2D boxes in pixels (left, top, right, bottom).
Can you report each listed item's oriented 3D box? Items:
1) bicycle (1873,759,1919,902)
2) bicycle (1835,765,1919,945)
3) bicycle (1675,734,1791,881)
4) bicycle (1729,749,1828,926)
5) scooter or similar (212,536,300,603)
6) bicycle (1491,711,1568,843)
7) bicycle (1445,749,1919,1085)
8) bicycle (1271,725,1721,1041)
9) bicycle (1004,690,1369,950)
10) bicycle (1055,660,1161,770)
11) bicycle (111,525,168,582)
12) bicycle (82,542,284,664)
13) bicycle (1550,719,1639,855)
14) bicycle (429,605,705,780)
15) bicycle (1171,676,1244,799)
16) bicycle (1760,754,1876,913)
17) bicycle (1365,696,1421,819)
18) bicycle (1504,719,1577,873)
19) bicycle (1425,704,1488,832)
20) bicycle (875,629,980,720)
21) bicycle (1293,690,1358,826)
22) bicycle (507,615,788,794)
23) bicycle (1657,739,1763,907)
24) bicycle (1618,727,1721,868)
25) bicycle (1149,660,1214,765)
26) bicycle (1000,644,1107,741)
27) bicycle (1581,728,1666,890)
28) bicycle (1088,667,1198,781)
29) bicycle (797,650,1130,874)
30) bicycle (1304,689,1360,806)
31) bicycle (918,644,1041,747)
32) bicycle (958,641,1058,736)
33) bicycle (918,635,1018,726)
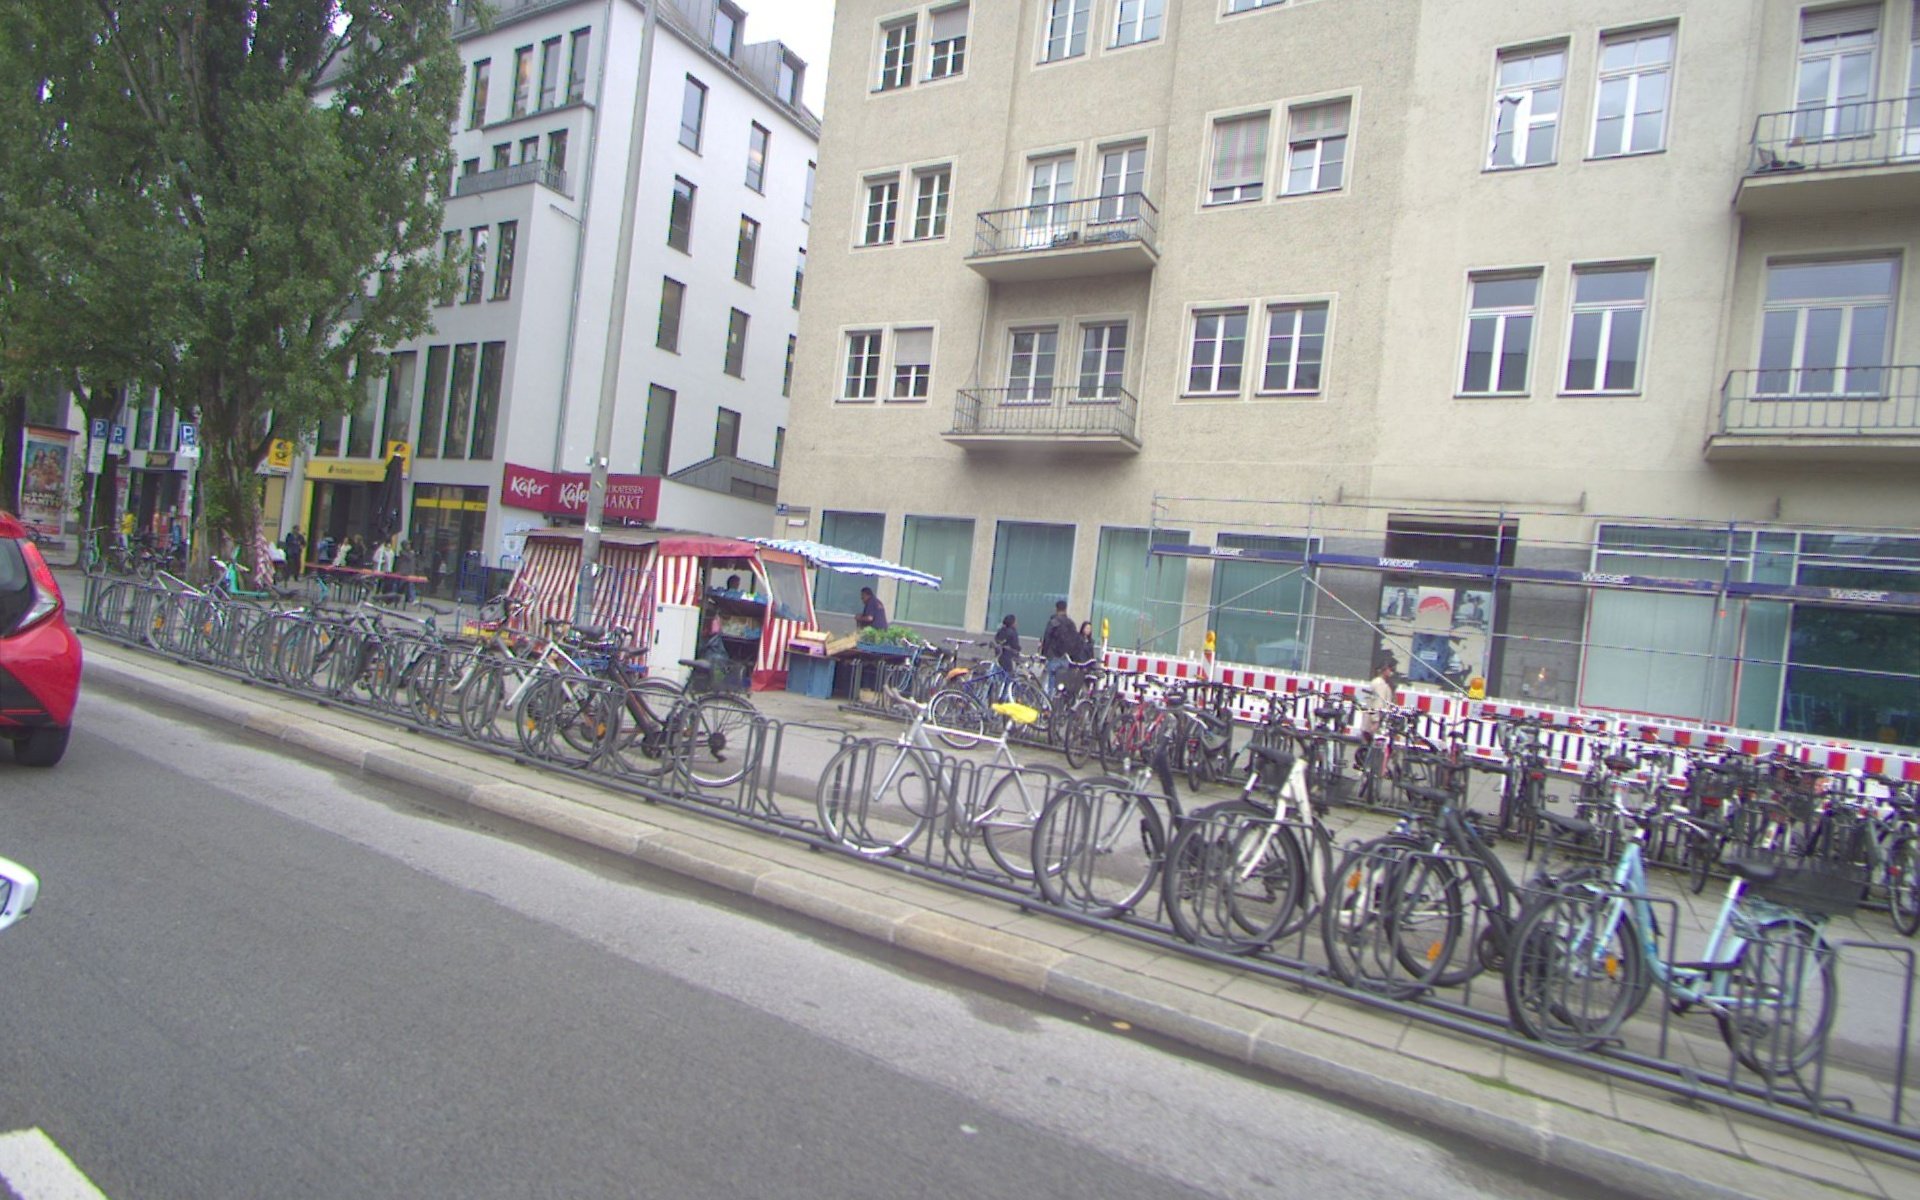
[{"bbox_3d":[8.293,1.983,8.483,0.403,1.091,1.451,6,0,27],"label":"bicycle"},{"bbox_3d":[7.120,1.884,7.576,0.403,1.091,1.623,6,0,30],"label":"bicycle"},{"bbox_3d":[7.166,1.882,9.377,0.403,1.091,1.452,6,0,23],"label":"bicycle"},{"bbox_3d":[6.334,1.781,7.830,0.404,1.091,1.634,6,0,36],"label":"bicycle"},{"bbox_3d":[-14.179,-0.591,20.303,0.393,1.222,1.470,6,0,14],"label":"scooter or similar"},{"bbox_3d":[5.660,1.723,10.047,0.403,1.091,1.452,6,0,23],"label":"bicycle"},{"bbox_3d":[2.978,1.303,4.134,1.825,1.070,0.396,11,-2,-13],"label":"bicycle"},{"bbox_3d":[2.352,1.238,4.402,1.825,1.070,0.396,11,-2,-13],"label":"bicycle"},{"bbox_3d":[1.191,1.148,5.185,1.778,1.070,0.396,11,-2,-20],"label":"bicycle"},{"bbox_3d":[1.654,1.244,11.068,0.404,1.091,1.478,6,0,36],"label":"bicycle"},{"bbox_3d":[-19.245,-1.093,23.585,1.606,1.174,0.478,7,0,33],"label":"bicycle"},{"bbox_3d":[-8.658,0.043,11.275,1.556,1.065,0.544,11,-2,-20],"label":"bicycle"},{"bbox_3d":[6.181,1.779,9.849,0.403,1.091,1.452,6,0,23],"label":"bicycle"},{"bbox_3d":[-2.921,0.706,7.631,1.776,1.021,0.385,11,-2,-16],"label":"bicycle"},{"bbox_3d":[2.550,1.357,10.280,0.403,1.091,1.452,6,0,23],"label":"bicycle"},{"bbox_3d":[7.446,1.979,8.780,0.403,1.091,1.527,6,0,30],"label":"bicycle"},{"bbox_3d":[4.569,1.619,10.619,0.403,1.091,1.534,6,0,24],"label":"bicycle"},{"bbox_3d":[5.022,1.639,8.714,0.403,1.091,1.537,6,0,30],"label":"bicycle"},{"bbox_3d":[5.054,1.665,10.288,0.403,1.091,1.534,6,0,24],"label":"bicycle"},{"bbox_3d":[-0.413,1.002,13.550,0.404,1.117,1.628,6,0,36],"label":"bicycle"},{"bbox_3d":[3.495,1.453,9.574,0.403,1.091,1.452,6,0,23],"label":"bicycle"},{"bbox_3d":[-2.254,0.778,7.376,1.778,1.021,0.384,11,-2,-20],"label":"bicycle"},{"bbox_3d":[6.118,1.763,8.265,0.403,1.091,1.659,6,0,30],"label":"bicycle"},{"bbox_3d":[6.757,1.842,9.638,0.403,1.091,1.452,6,0,23],"label":"bicycle"},{"bbox_3d":[2.692,1.315,12.132,0.403,1.117,1.633,6,0,22],"label":"bicycle"},{"bbox_3d":[1.212,1.171,12.771,0.404,1.117,1.626,7,1,40],"label":"bicycle"},{"bbox_3d":[5.502,1.685,8.393,0.403,1.091,1.526,6,0,30],"label":"bicycle"},{"bbox_3d":[1.967,1.296,10.690,0.404,1.091,1.446,7,1,39],"label":"bicycle"},{"bbox_3d":[0.042,0.950,5.827,1.778,1.021,0.384,11,-2,-20],"label":"bicycle"},{"bbox_3d":[4.059,1.561,10.931,0.403,1.091,1.452,6,0,23],"label":"bicycle"},{"bbox_3d":[0.244,1.102,11.590,1.464,1.091,0.405,6,1,-43],"label":"bicycle"},{"bbox_3d":[0.644,1.123,12.946,0.403,1.117,1.629,6,0,34],"label":"bicycle"},{"bbox_3d":[0.134,1.064,13.398,0.403,1.117,1.629,6,0,34],"label":"bicycle"}]
